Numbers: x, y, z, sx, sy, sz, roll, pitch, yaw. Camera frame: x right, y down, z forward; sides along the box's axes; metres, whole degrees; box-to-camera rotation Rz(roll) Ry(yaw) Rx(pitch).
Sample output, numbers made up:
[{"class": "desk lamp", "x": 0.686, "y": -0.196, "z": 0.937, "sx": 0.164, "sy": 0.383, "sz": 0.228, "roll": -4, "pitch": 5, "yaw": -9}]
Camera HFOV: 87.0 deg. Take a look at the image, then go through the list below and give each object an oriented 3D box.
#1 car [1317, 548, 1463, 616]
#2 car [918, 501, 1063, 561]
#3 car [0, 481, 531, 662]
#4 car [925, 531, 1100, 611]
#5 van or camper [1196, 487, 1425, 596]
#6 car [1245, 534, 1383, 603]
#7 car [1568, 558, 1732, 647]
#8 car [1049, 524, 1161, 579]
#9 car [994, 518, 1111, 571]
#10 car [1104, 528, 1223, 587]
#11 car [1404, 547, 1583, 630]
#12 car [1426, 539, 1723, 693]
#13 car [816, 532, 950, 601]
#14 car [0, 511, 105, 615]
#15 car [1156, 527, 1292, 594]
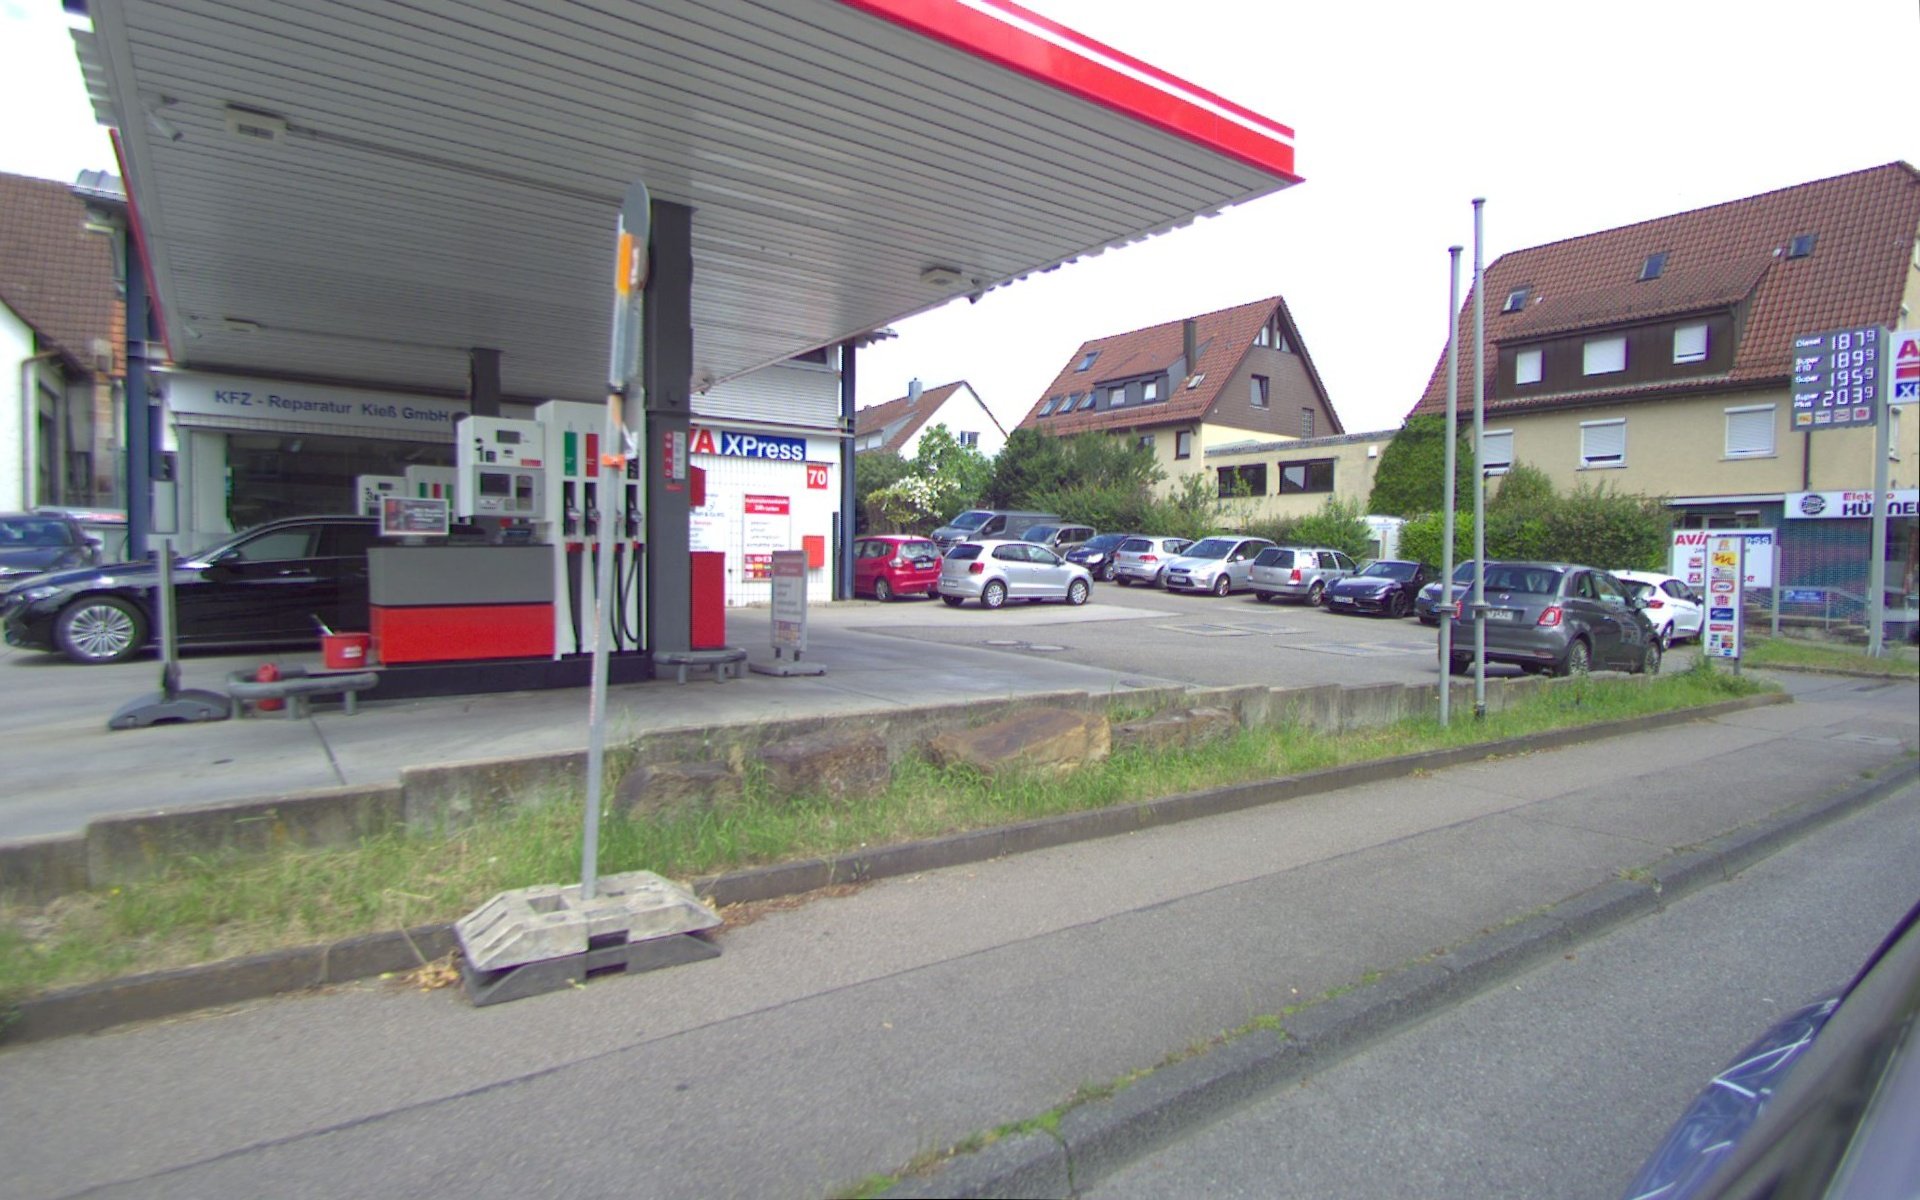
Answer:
[{"class": "car", "x": 10.290, "y": -0.472, "z": 24.138, "sx": 3.681, "sy": 1.388, "sz": 1.641, "roll": -2, "pitch": 6, "yaw": -40}, {"class": "car", "x": 1.134, "y": -2.406, "z": 35.737, "sx": 5.046, "sy": 1.940, "sz": 1.924, "roll": -2, "pitch": 6, "yaw": -40}, {"class": "car", "x": -7.260, "y": -0.327, "z": 11.076, "sx": 4.485, "sy": 1.628, "sz": 1.635, "roll": -2, "pitch": 2, "yaw": -36}, {"class": "car", "x": 1.208, "y": -0.713, "z": 22.594, "sx": 3.678, "sy": 1.518, "sz": 1.637, "roll": -4, "pitch": 8, "yaw": -35}, {"class": "van or camper", "x": 10.461, "y": -1.859, "z": 30.704, "sx": 2.487, "sy": 2.884, "sz": 5.977, "roll": 0, "pitch": 6, "yaw": -39}, {"class": "car", "x": 9.269, "y": -0.851, "z": 26.418, "sx": 3.681, "sy": 1.604, "sz": 1.642, "roll": -2, "pitch": 6, "yaw": -40}, {"class": "car", "x": 14.229, "y": -0.022, "z": 20.794, "sx": 4.130, "sy": 1.546, "sz": 1.639, "roll": -2, "pitch": 6, "yaw": -40}, {"class": "car", "x": 4.617, "y": -1.535, "z": 32.097, "sx": 3.437, "sy": 1.587, "sz": 1.572, "roll": -2, "pitch": 6, "yaw": -40}, {"class": "car", "x": 3.141, "y": -1.857, "z": 34.081, "sx": 3.882, "sy": 1.650, "sz": 1.572, "roll": -2, "pitch": 6, "yaw": -40}, {"class": "car", "x": 6.055, "y": -1.266, "z": 30.031, "sx": 3.437, "sy": 1.587, "sz": 1.572, "roll": -2, "pitch": 6, "yaw": -40}, {"class": "car", "x": 11.810, "y": -0.306, "z": 22.290, "sx": 4.573, "sy": 1.560, "sz": 1.717, "roll": -1, "pitch": 6, "yaw": -39}, {"class": "car", "x": 8.110, "y": 0.141, "z": 13.260, "sx": 4.079, "sy": 1.613, "sz": 1.623, "roll": 0, "pitch": 8, "yaw": -34}, {"class": "car", "x": -1.941, "y": -0.887, "z": 24.539, "sx": 1.590, "sy": 1.477, "sz": 3.758, "roll": -3, "pitch": 6, "yaw": -33}, {"class": "car", "x": -14.814, "y": -0.653, "z": 16.007, "sx": 1.684, "sy": 1.477, "sz": 3.755, "roll": -4, "pitch": 6, "yaw": -37}, {"class": "car", "x": 7.423, "y": -1.121, "z": 28.318, "sx": 3.977, "sy": 1.702, "sz": 1.572, "roll": -2, "pitch": 6, "yaw": -40}]
